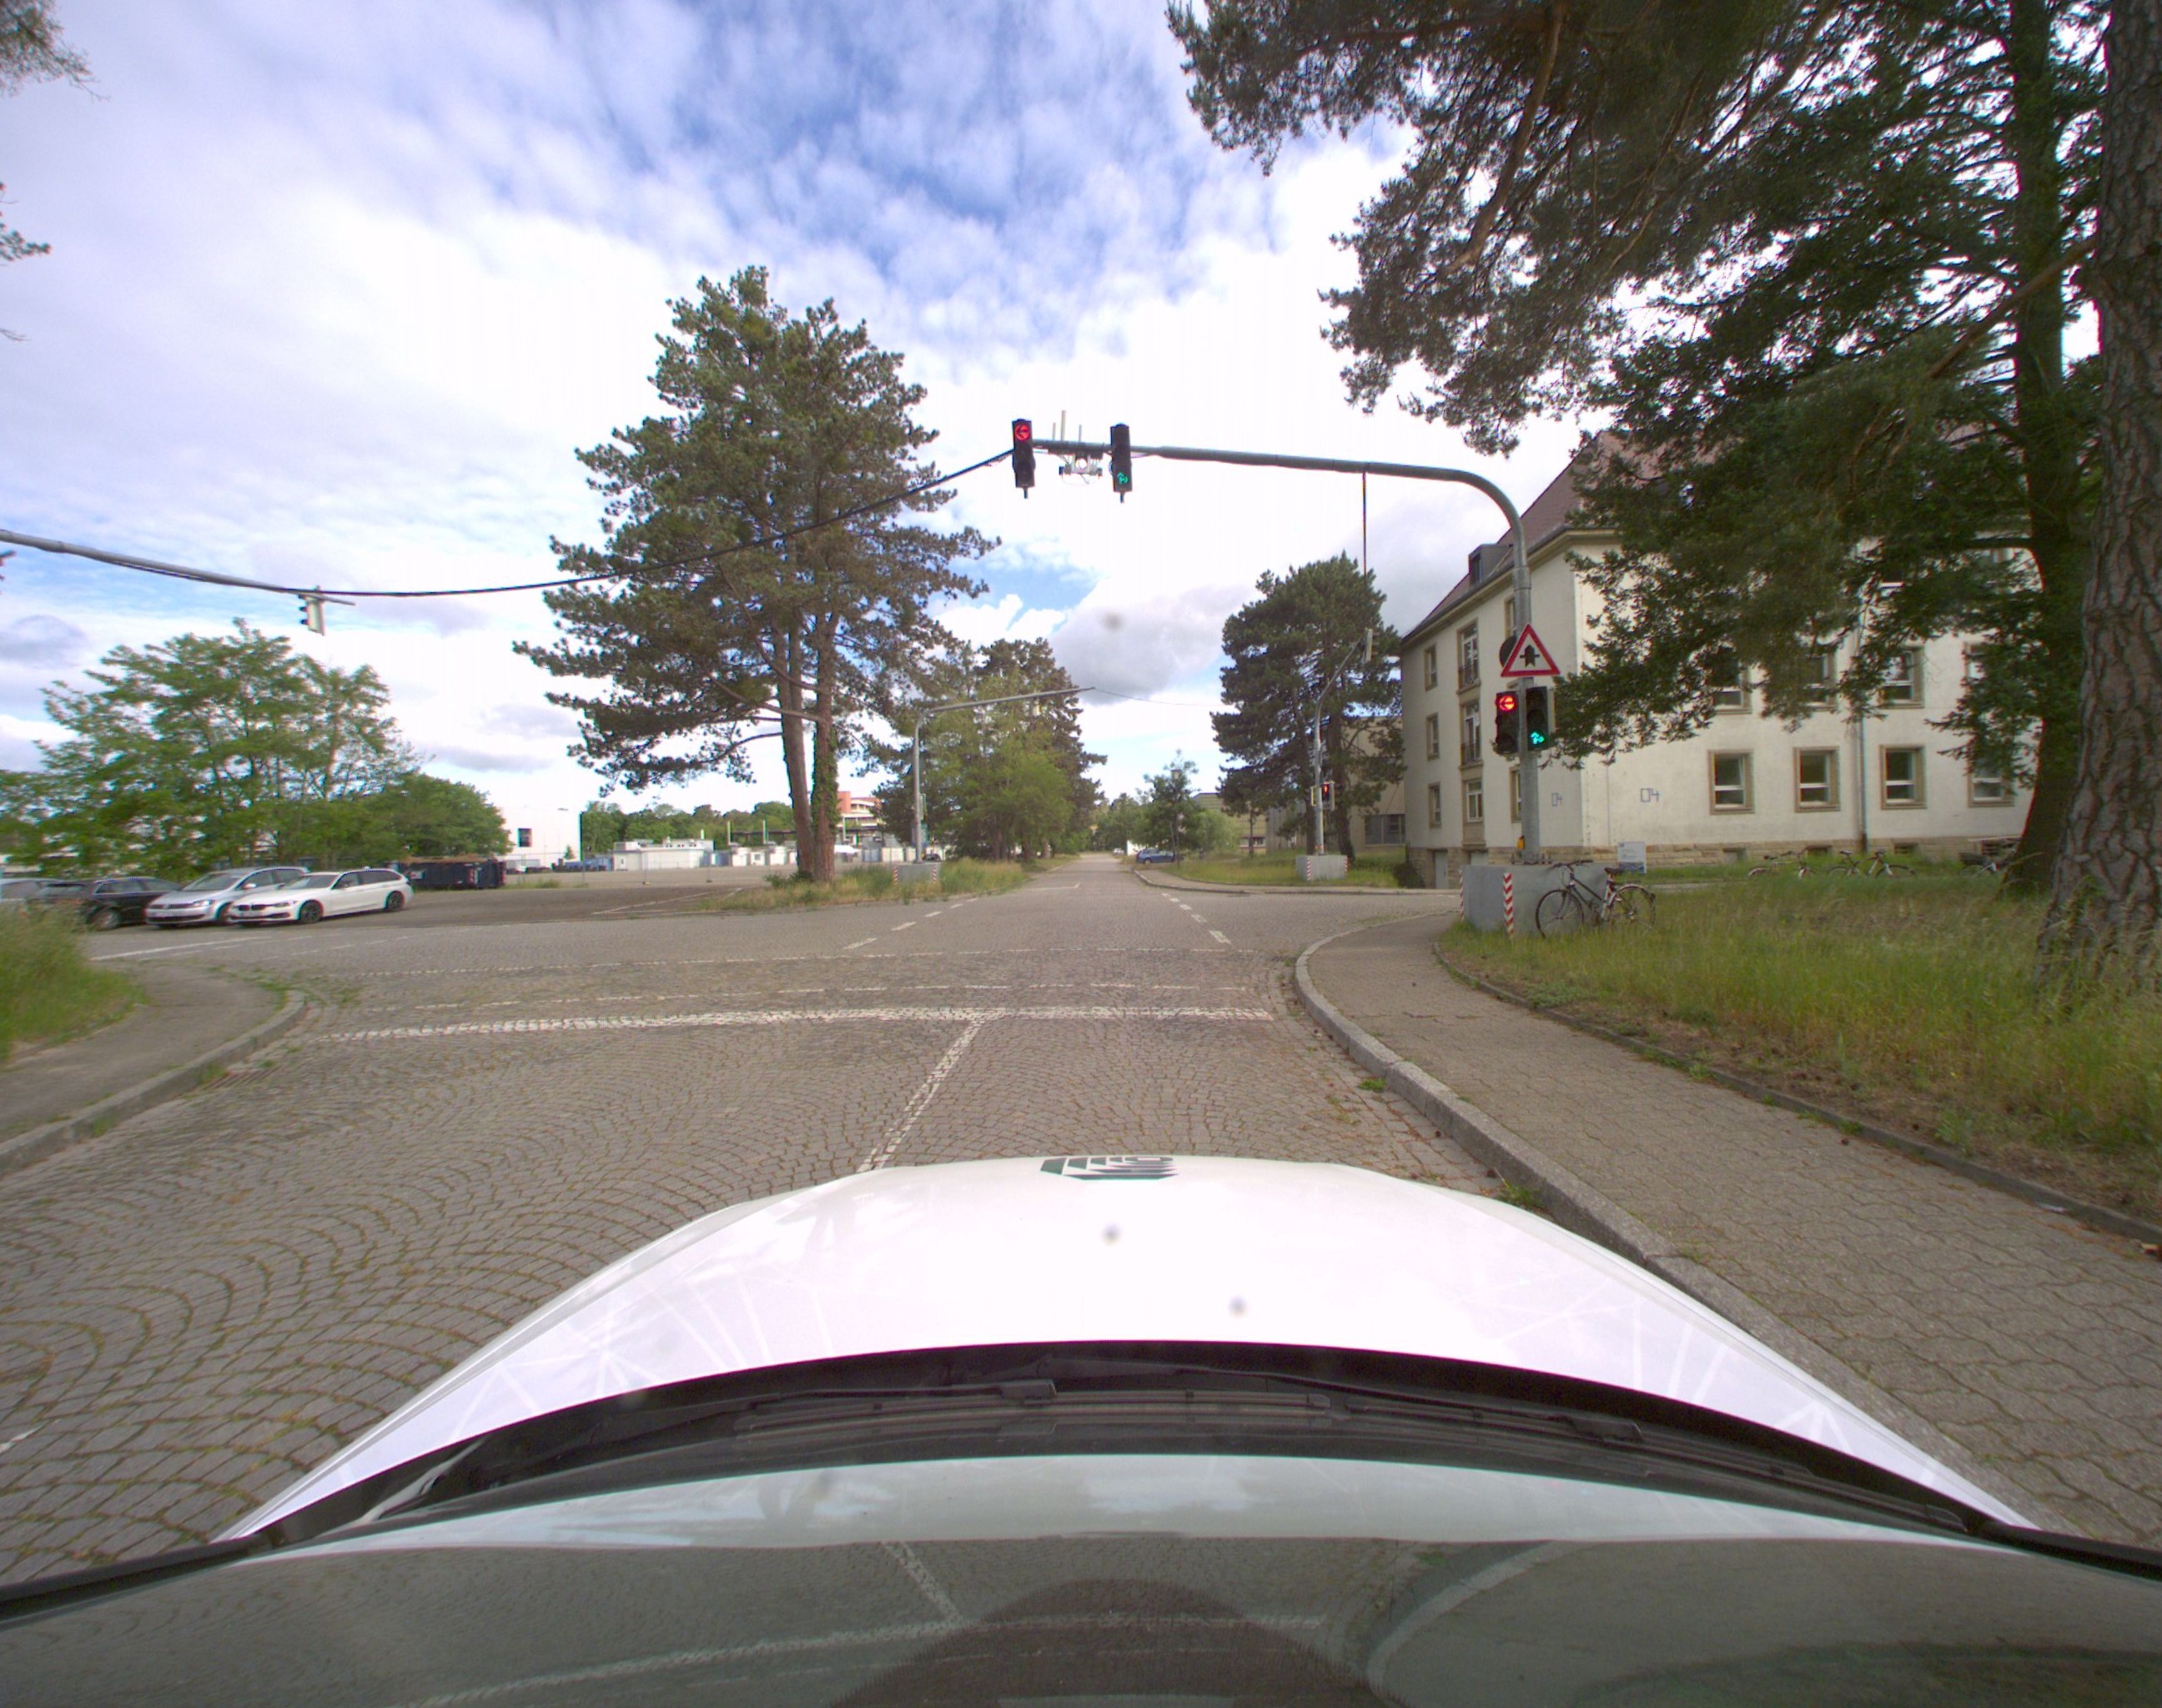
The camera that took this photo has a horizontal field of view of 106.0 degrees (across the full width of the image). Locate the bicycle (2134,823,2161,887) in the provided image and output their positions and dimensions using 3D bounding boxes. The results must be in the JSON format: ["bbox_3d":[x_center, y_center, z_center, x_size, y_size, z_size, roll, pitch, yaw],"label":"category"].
[{"bbox_3d":[22.517,0.024,16.317,0.552,1.320,1.856,-1,0,7],"label":"bicycle"}]

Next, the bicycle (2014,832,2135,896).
[{"bbox_3d":[19.884,0.185,16.353,0.538,1.215,1.642,-1,0,7],"label":"bicycle"}]

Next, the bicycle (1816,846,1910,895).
[{"bbox_3d":[17.156,0.348,17.883,1.531,1.014,0.543,-1,0,0],"label":"bicycle"}]

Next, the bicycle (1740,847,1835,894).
[{"bbox_3d":[15.401,0.355,17.768,1.615,0.980,0.530,-1,0,0],"label":"bicycle"}]

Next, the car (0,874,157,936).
[{"bbox_3d":[-30.495,1.466,23.929,1.788,1.566,4.323,-2,0,-2],"label":"car"}]

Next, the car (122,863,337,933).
[{"bbox_3d":[-25.061,1.228,24.248,1.817,1.584,4.324,-2,3,-2],"label":"car"}]

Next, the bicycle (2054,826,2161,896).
[{"bbox_3d":[20.954,0.115,16.373,0.573,1.320,1.979,-1,0,7],"label":"bicycle"}]

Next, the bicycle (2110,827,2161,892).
[{"bbox_3d":[21.990,0.105,16.354,0.389,1.320,1.922,-1,0,7],"label":"bicycle"}]

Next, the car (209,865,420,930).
[{"bbox_3d":[-22.567,1.204,24.317,1.805,1.441,4.739,-2,2,-1],"label":"car"}]

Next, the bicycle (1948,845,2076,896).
[{"bbox_3d":[18.659,0.310,16.389,0.538,0.949,1.905,-1,0,6],"label":"bicycle"}]

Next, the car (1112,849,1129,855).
[{"bbox_3d":[9.394,-0.543,193.330,3.980,1.398,1.997,-2,0,-5],"label":"car"}]

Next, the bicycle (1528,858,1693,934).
[{"bbox_3d":[6.646,0.514,10.265,1.693,0.874,0.573,-2,0,1],"label":"bicycle"}]

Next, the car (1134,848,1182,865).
[{"bbox_3d":[7.191,0.234,76.236,4.331,1.422,1.999,-2,0,-1],"label":"car"}]

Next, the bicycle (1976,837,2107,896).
[{"bbox_3d":[19.310,0.233,16.433,0.538,1.101,1.906,-1,0,7],"label":"bicycle"}]

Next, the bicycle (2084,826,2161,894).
[{"bbox_3d":[21.542,0.111,16.388,0.503,1.320,1.923,-1,0,7],"label":"bicycle"}]

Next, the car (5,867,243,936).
[{"bbox_3d":[-27.820,1.314,23.952,1.850,1.501,4.324,-2,3,-2],"label":"car"}]

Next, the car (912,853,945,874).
[{"bbox_3d":[-11.485,0.692,61.594,1.607,1.487,4.001,-1,0,1],"label":"car"}]

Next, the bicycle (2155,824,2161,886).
[{"bbox_3d":[23.126,0.015,16.411,0.550,1.320,1.942,-1,0,7],"label":"bicycle"}]

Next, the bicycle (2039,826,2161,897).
[{"bbox_3d":[20.382,0.121,16.187,0.435,1.320,2.051,-1,0,7],"label":"bicycle"}]
